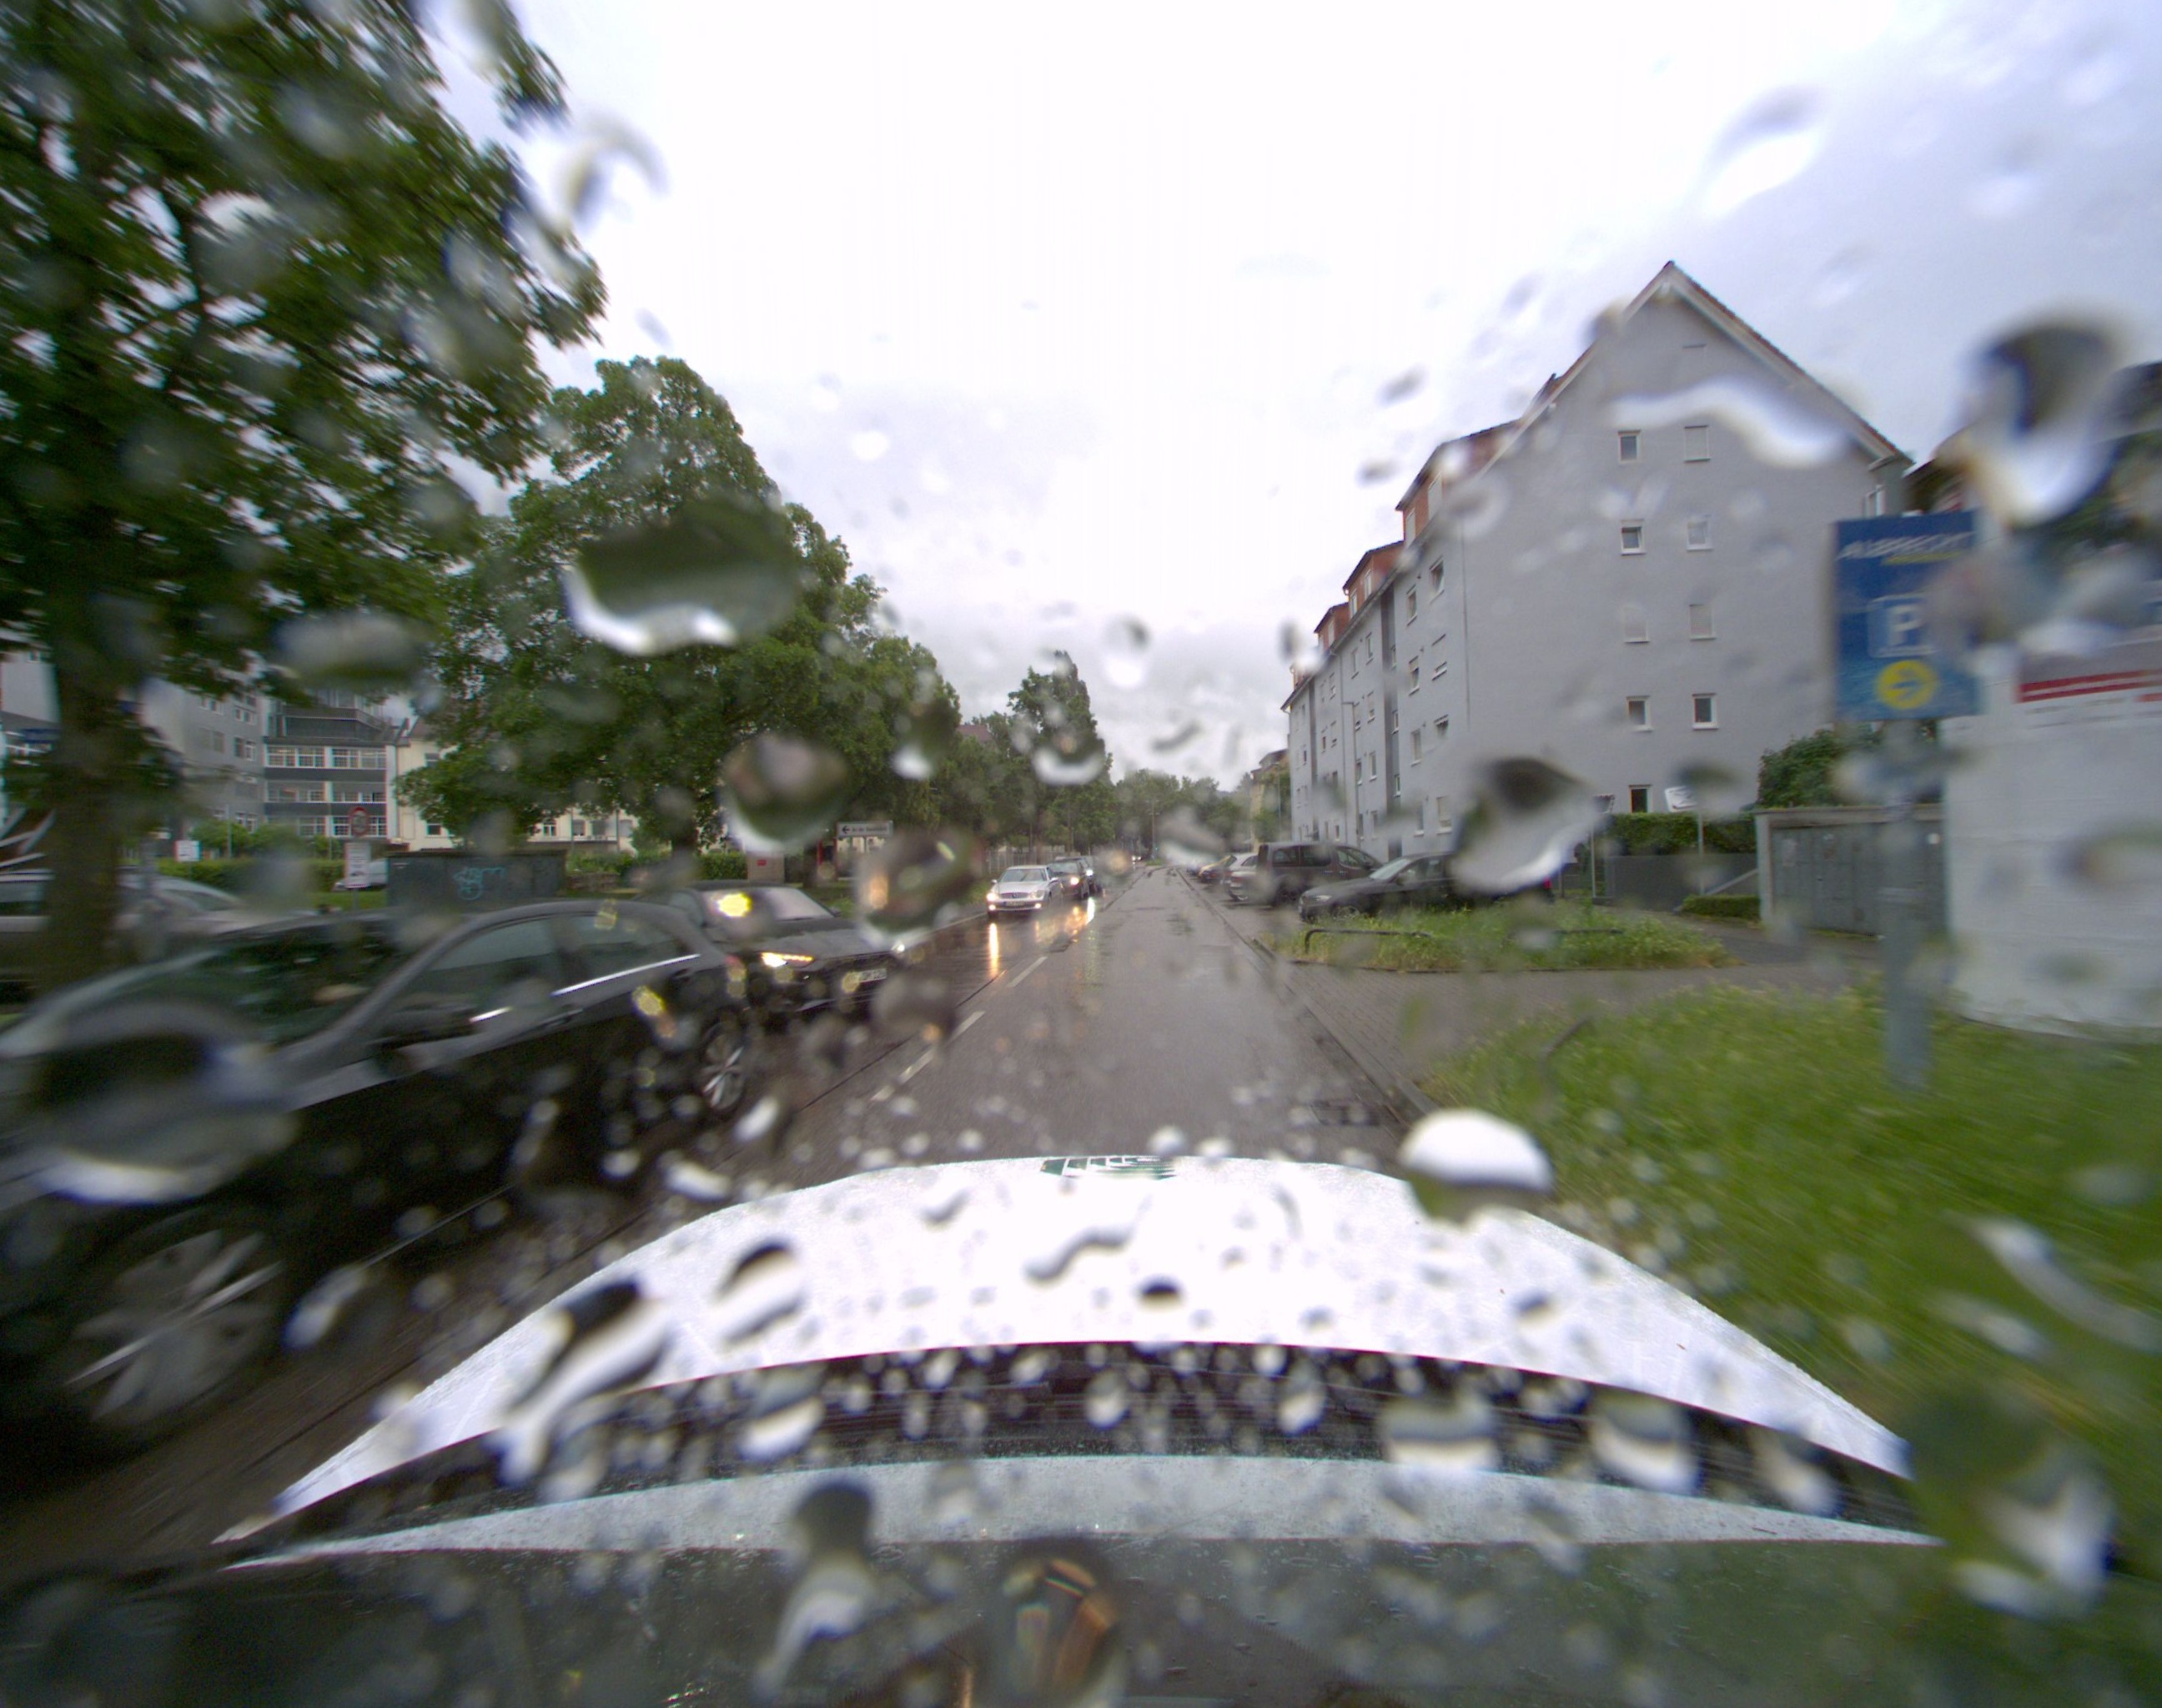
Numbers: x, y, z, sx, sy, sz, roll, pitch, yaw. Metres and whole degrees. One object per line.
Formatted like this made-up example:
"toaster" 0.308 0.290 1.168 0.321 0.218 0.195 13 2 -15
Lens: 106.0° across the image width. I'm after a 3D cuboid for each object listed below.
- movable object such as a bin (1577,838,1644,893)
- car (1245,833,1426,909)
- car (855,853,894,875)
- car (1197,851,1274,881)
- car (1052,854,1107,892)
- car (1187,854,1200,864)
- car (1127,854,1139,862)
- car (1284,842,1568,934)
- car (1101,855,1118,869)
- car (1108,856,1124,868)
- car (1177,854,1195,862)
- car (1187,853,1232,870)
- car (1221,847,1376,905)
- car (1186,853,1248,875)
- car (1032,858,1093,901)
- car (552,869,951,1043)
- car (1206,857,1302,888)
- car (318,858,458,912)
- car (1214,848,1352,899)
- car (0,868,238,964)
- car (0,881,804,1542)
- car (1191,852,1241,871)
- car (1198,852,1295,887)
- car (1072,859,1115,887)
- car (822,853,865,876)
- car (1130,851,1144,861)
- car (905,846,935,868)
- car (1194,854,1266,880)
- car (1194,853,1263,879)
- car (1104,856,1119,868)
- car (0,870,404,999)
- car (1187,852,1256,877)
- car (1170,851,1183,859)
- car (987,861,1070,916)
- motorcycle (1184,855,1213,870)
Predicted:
"movable object such as a bin" 13.574 0.286 20.911 1.227 1.377 0.825 -1 0 12
"car" 6.689 0.444 21.786 4.215 1.805 1.946 -2 -1 2
"car" -15.519 0.778 61.002 1.856 1.573 3.961 0 -1 -30
"car" 8.482 0.658 45.007 3.969 1.552 1.855 -1 -1 4
"car" 0.001 0.847 37.748 1.904 1.639 4.831 -1 0 7
"car" 18.211 0.861 132.205 1.842 1.524 4.004 -2 0 3
"car" 10.857 0.872 169.957 1.740 1.689 3.986 -1 -1 -10
"car" 6.297 0.616 15.338 4.511 1.470 1.986 -2 -1 5
"car" 3.266 0.902 95.235 1.770 1.530 3.998 -1 1 -1
"car" 5.041 1.170 116.309 1.916 1.731 4.008 -1 -1 7
"car" 18.801 0.723 145.682 1.852 1.524 4.133 -1 0 -14
"car" 11.880 0.683 75.407 3.967 1.461 1.938 -1 -1 6
"car" 6.418 0.637 24.373 4.171 1.568 1.891 -2 -1 3
"car" 9.764 0.708 58.282 4.242 1.454 1.990 -1 1 11
"car" -0.630 0.919 30.922 1.770 1.420 4.272 -2 0 6
"car" -3.989 0.974 9.464 4.864 1.454 2.100 -2 0 38
"car" 7.278 0.765 34.624 3.833 1.207 1.960 -1 0 7
"car" -21.953 0.909 26.048 2.001 1.526 4.403 -1 0 -21
"car" 6.601 0.638 26.984 4.162 1.572 1.892 -1 -1 4
"car" -18.737 1.083 15.790 1.792 1.509 4.266 -2 1 -24
"car" -3.116 0.915 3.697 1.717 1.361 4.346 -2 0 7
"car" 11.248 0.633 68.087 3.969 1.552 1.907 -1 -1 3
"car" 7.473 0.704 37.162 4.124 1.486 2.015 -1 -1 5
"car" 0.735 0.977 43.756 1.662 1.383 4.263 -2 0 9
"car" -17.460 0.807 59.756 2.008 1.557 3.958 -1 -1 -33
"car" 12.195 0.395 176.945 1.996 2.013 3.981 -1 0 -14
"car" -16.519 0.320 83.417 2.004 2.122 3.965 0 -1 -26
"car" 8.652 0.740 47.615 3.968 1.442 1.784 -1 -1 5
"car" 9.032 0.737 50.202 4.076 1.458 2.004 -1 0 7
"car" 4.161 1.043 110.037 1.921 1.484 4.002 -2 0 2
"car" -11.596 0.913 10.231 4.347 1.395 1.996 0 -1 -25
"car" 9.147 0.685 53.347 4.321 1.552 2.043 -1 -1 5
"car" 18.666 0.180 158.917 1.846 1.524 3.995 -2 0 -3
"car" -1.408 0.926 23.774 1.767 1.403 4.835 -1 0 4
"motorcycle" 10.470 0.771 72.638 2.390 1.324 0.920 -1 -1 1
